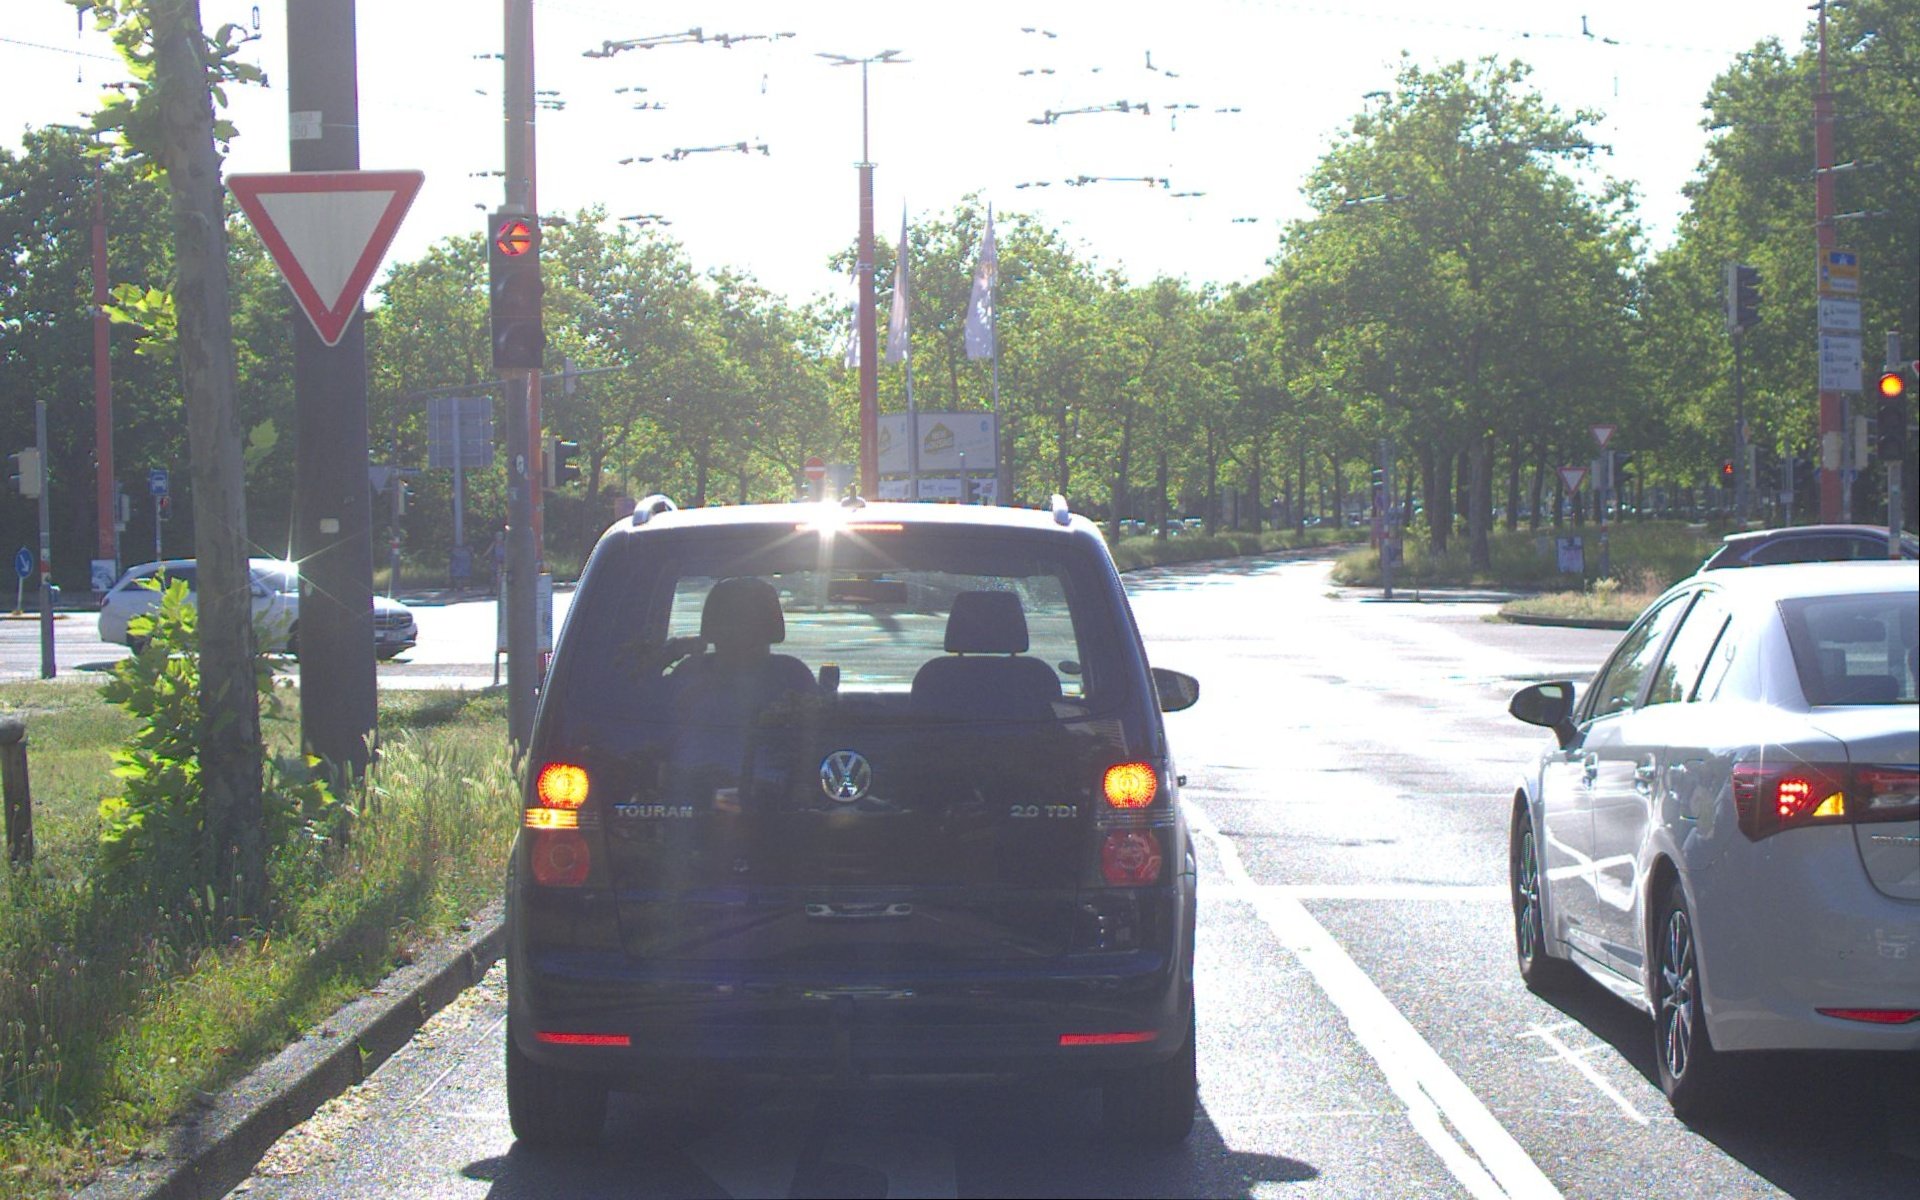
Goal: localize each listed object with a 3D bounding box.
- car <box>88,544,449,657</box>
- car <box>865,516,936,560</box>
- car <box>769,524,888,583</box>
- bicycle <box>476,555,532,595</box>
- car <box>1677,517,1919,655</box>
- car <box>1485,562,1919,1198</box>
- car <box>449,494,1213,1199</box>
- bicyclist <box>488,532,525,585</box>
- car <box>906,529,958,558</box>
[{"bbox_3d":[-10.014,-0.017,49.738,4.921,1.569,1.997,0,1,27],"label":"car"},{"bbox_3d":[-2.273,-2.385,132.710,1.994,1.679,4.827,0,1,8],"label":"car"},{"bbox_3d":[-3.819,-1.364,100.661,1.995,1.679,4.825,0,1,17],"label":"car"},{"bbox_3d":[-12.520,-0.686,94.407,0.735,1.086,1.959,0,1,18],"label":"bicycle"},{"bbox_3d":[11.345,-0.185,42.400,4.557,1.662,1.840,0,1,28],"label":"car"},{"bbox_3d":[2.689,0.629,10.068,1.715,1.449,4.144,0,1,1],"label":"car"},{"bbox_3d":[-0.315,0.546,9.867,1.737,1.635,4.000,0,1,-1],"label":"car"},{"bbox_3d":[-12.489,-1.154,94.619,0.693,1.452,0.874,0,1,18],"label":"bicyclist"},{"bbox_3d":[-1.301,-2.621,159.263,1.658,1.305,3.813,0,1,12],"label":"car"}]
